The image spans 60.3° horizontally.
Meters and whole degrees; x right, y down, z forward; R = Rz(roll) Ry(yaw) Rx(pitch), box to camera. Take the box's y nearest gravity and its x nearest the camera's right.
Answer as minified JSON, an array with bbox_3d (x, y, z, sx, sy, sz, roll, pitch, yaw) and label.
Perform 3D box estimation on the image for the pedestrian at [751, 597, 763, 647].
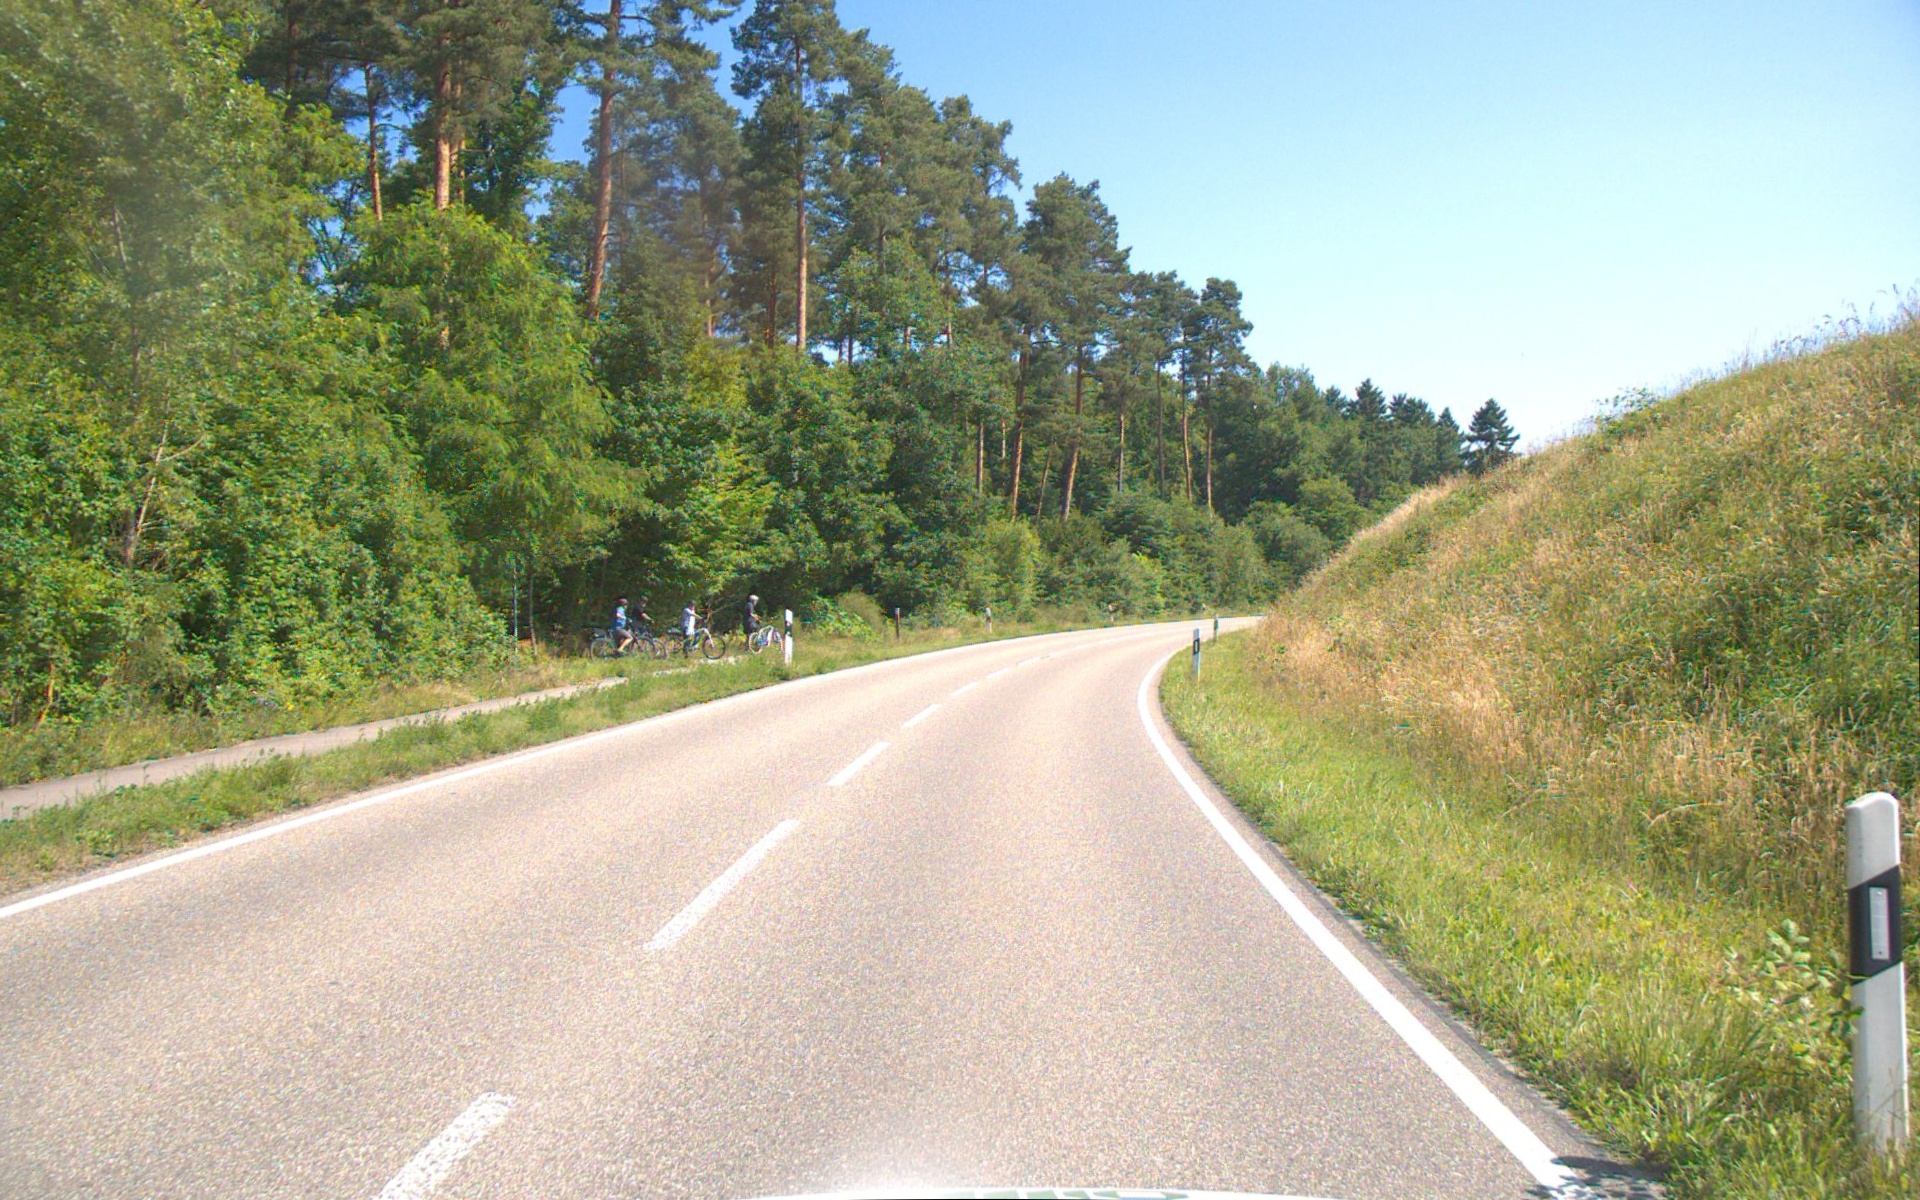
[{"bbox_3d":[-6.358,0.688,51.893,0.278,1.565,0.391,-1,0,4],"label":"pedestrian"}]

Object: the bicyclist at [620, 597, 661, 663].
[{"bbox_3d":[-8.399,0.783,43.488,0.841,1.730,0.598,2,-1,-37],"label":"bicyclist"}]

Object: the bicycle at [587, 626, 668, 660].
[{"bbox_3d":[-8.484,1.112,42.268,1.964,0.844,0.598,2,-1,-37],"label":"bicycle"}]

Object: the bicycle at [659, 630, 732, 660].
[{"bbox_3d":[-7.530,1.287,47.152,1.958,0.844,0.600,1,-1,-30],"label":"bicycle"}]

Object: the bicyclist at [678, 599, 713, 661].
[{"bbox_3d":[-7.540,0.865,47.140,0.778,1.749,0.600,1,-1,-30],"label":"bicyclist"}]

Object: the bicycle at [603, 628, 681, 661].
[{"bbox_3d":[-8.332,1.177,43.399,1.964,0.844,0.598,2,-1,-37],"label":"bicycle"}]

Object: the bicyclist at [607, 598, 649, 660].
[{"bbox_3d":[-8.478,0.741,42.282,0.862,1.572,0.598,2,-1,-37],"label":"bicyclist"}]

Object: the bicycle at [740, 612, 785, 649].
[{"bbox_3d":[-6.186,0.942,51.801,0.571,1.105,1.441,2,2,38],"label":"bicycle"}]
